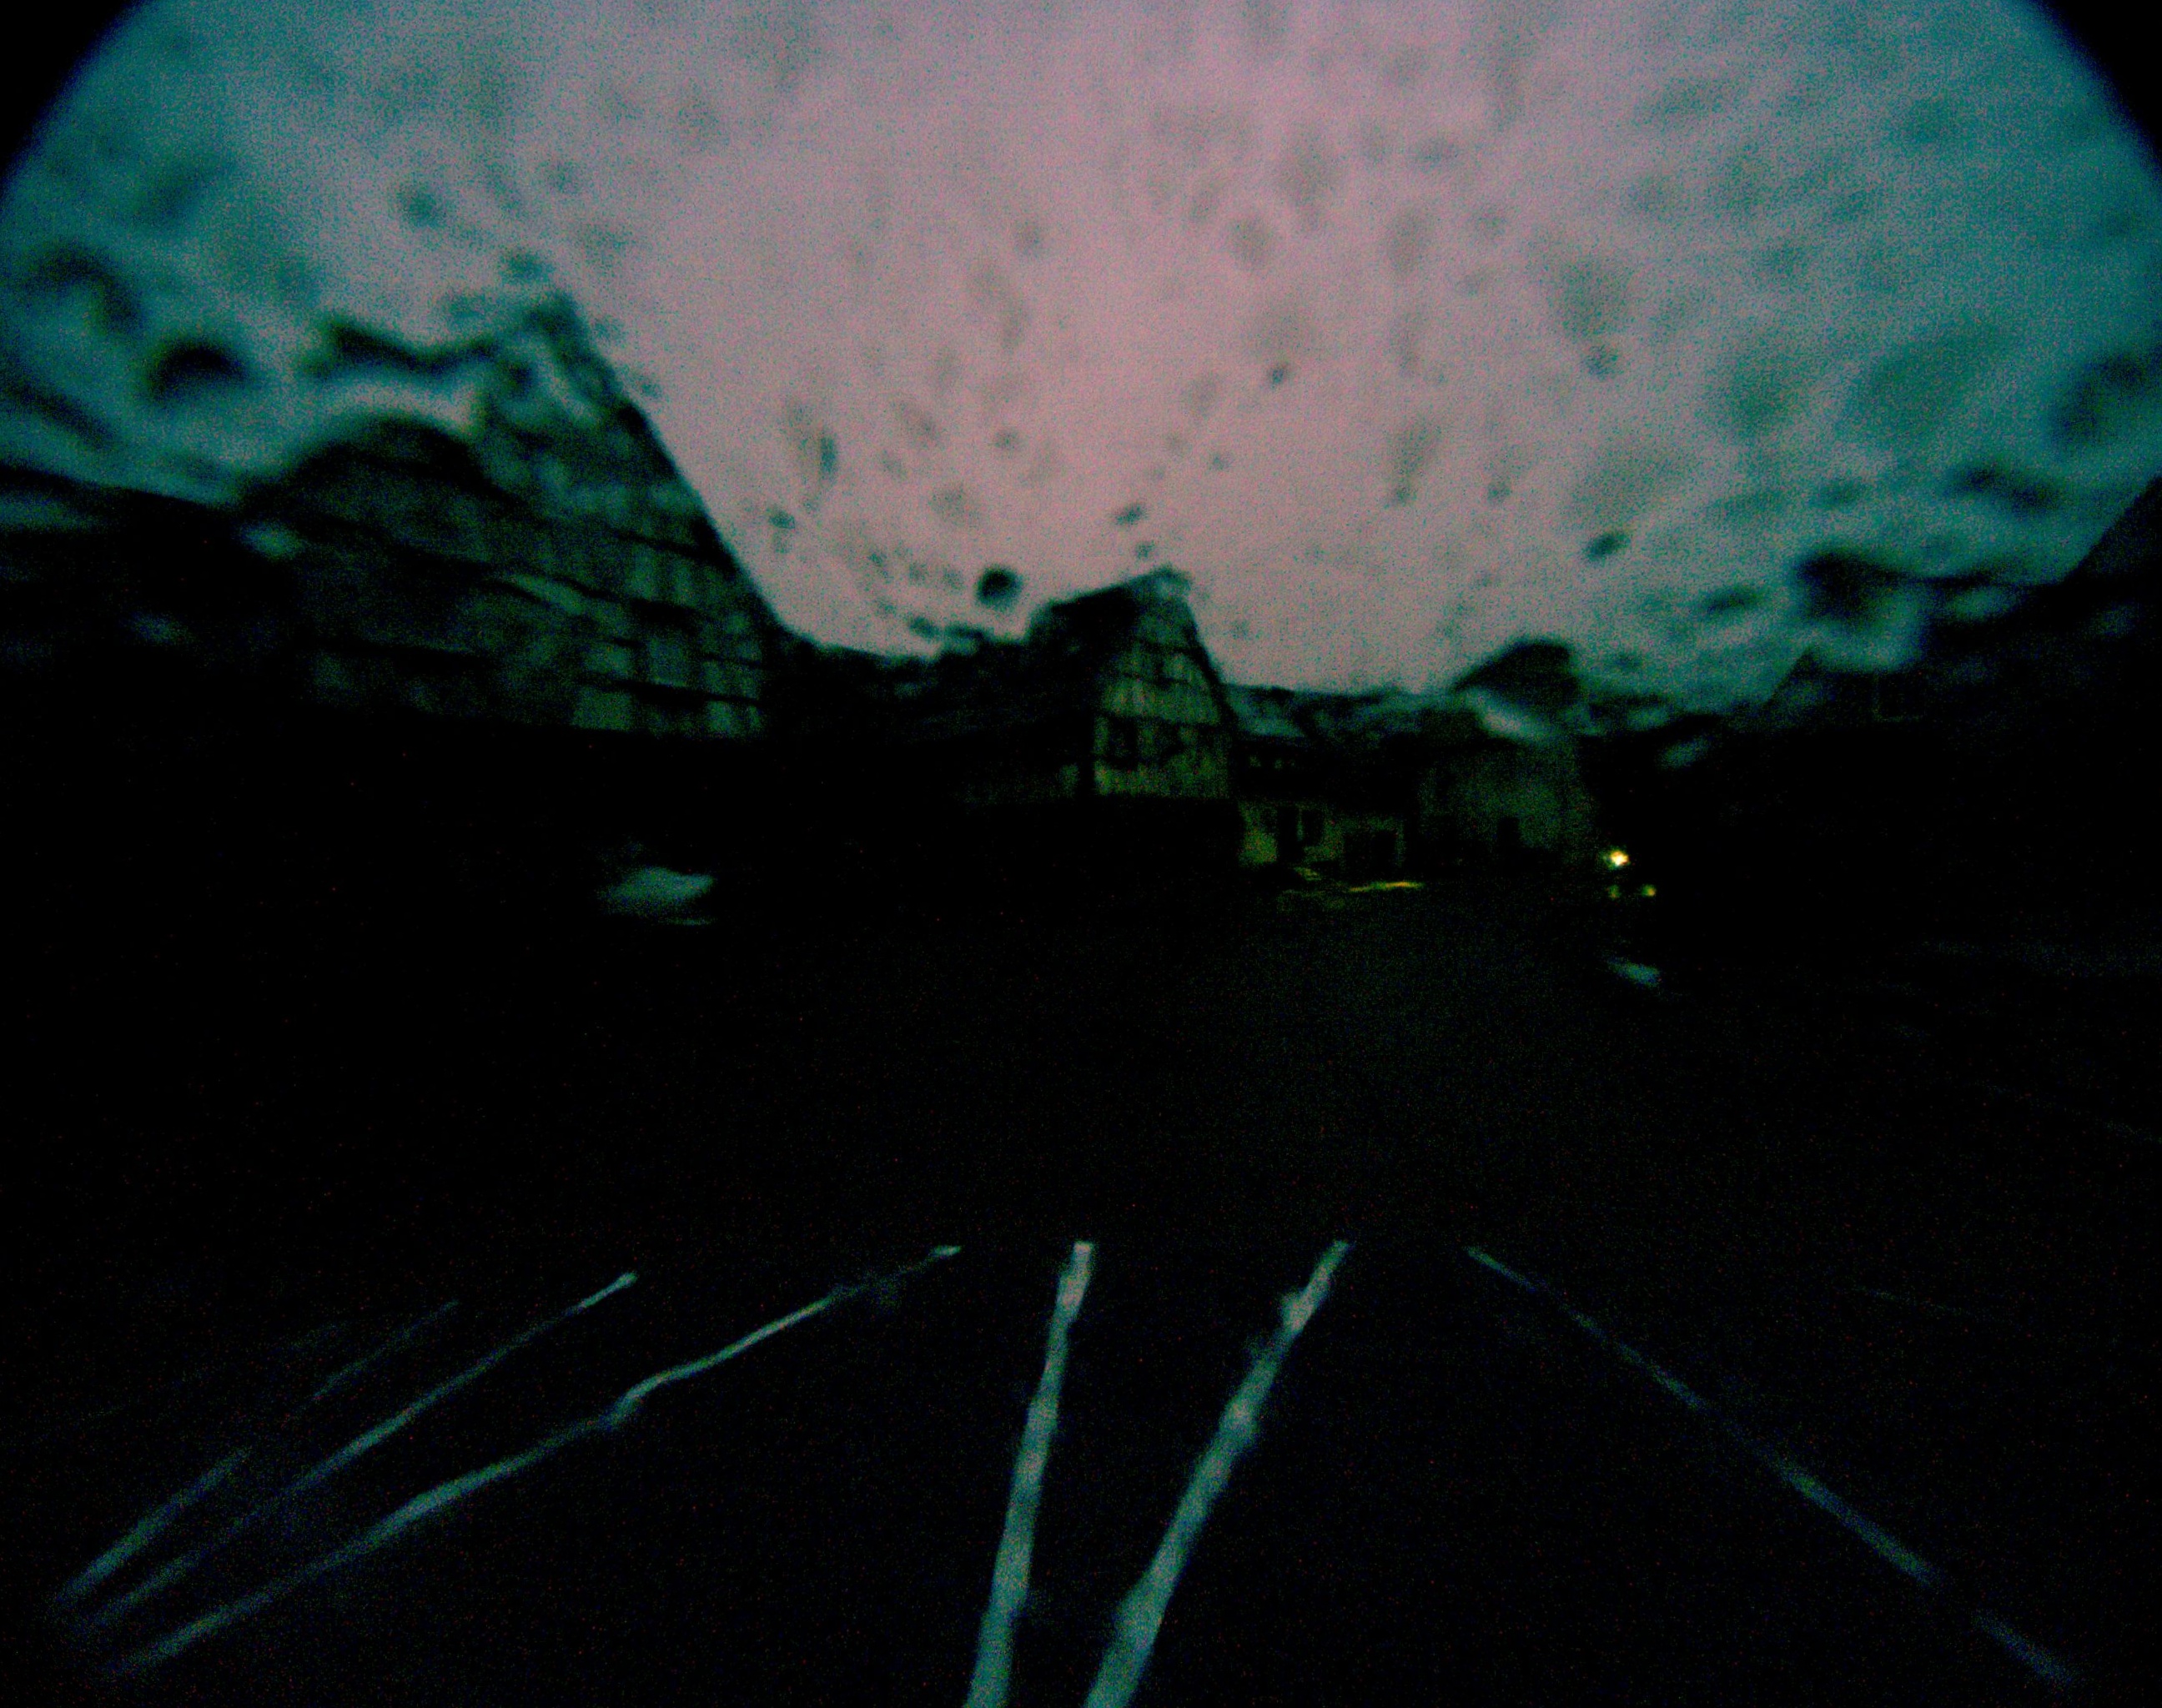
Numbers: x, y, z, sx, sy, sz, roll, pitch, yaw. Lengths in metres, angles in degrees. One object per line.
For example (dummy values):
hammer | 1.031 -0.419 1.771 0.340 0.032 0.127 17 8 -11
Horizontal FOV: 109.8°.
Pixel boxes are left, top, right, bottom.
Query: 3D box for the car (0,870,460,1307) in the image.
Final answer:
car | -5.186 0.828 3.018 3.900 1.441 1.884 2 1 -29

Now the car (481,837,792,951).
car | -6.878 0.596 12.019 3.993 1.507 1.593 2 1 -36

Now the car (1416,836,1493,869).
car | 19.588 -0.114 40.018 1.651 1.498 3.483 -2 4 -19

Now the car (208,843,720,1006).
car | -6.355 0.689 8.479 4.045 1.412 1.810 2 1 -29

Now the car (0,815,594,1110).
car | -6.191 0.629 5.389 4.485 1.651 1.850 2 1 -31
